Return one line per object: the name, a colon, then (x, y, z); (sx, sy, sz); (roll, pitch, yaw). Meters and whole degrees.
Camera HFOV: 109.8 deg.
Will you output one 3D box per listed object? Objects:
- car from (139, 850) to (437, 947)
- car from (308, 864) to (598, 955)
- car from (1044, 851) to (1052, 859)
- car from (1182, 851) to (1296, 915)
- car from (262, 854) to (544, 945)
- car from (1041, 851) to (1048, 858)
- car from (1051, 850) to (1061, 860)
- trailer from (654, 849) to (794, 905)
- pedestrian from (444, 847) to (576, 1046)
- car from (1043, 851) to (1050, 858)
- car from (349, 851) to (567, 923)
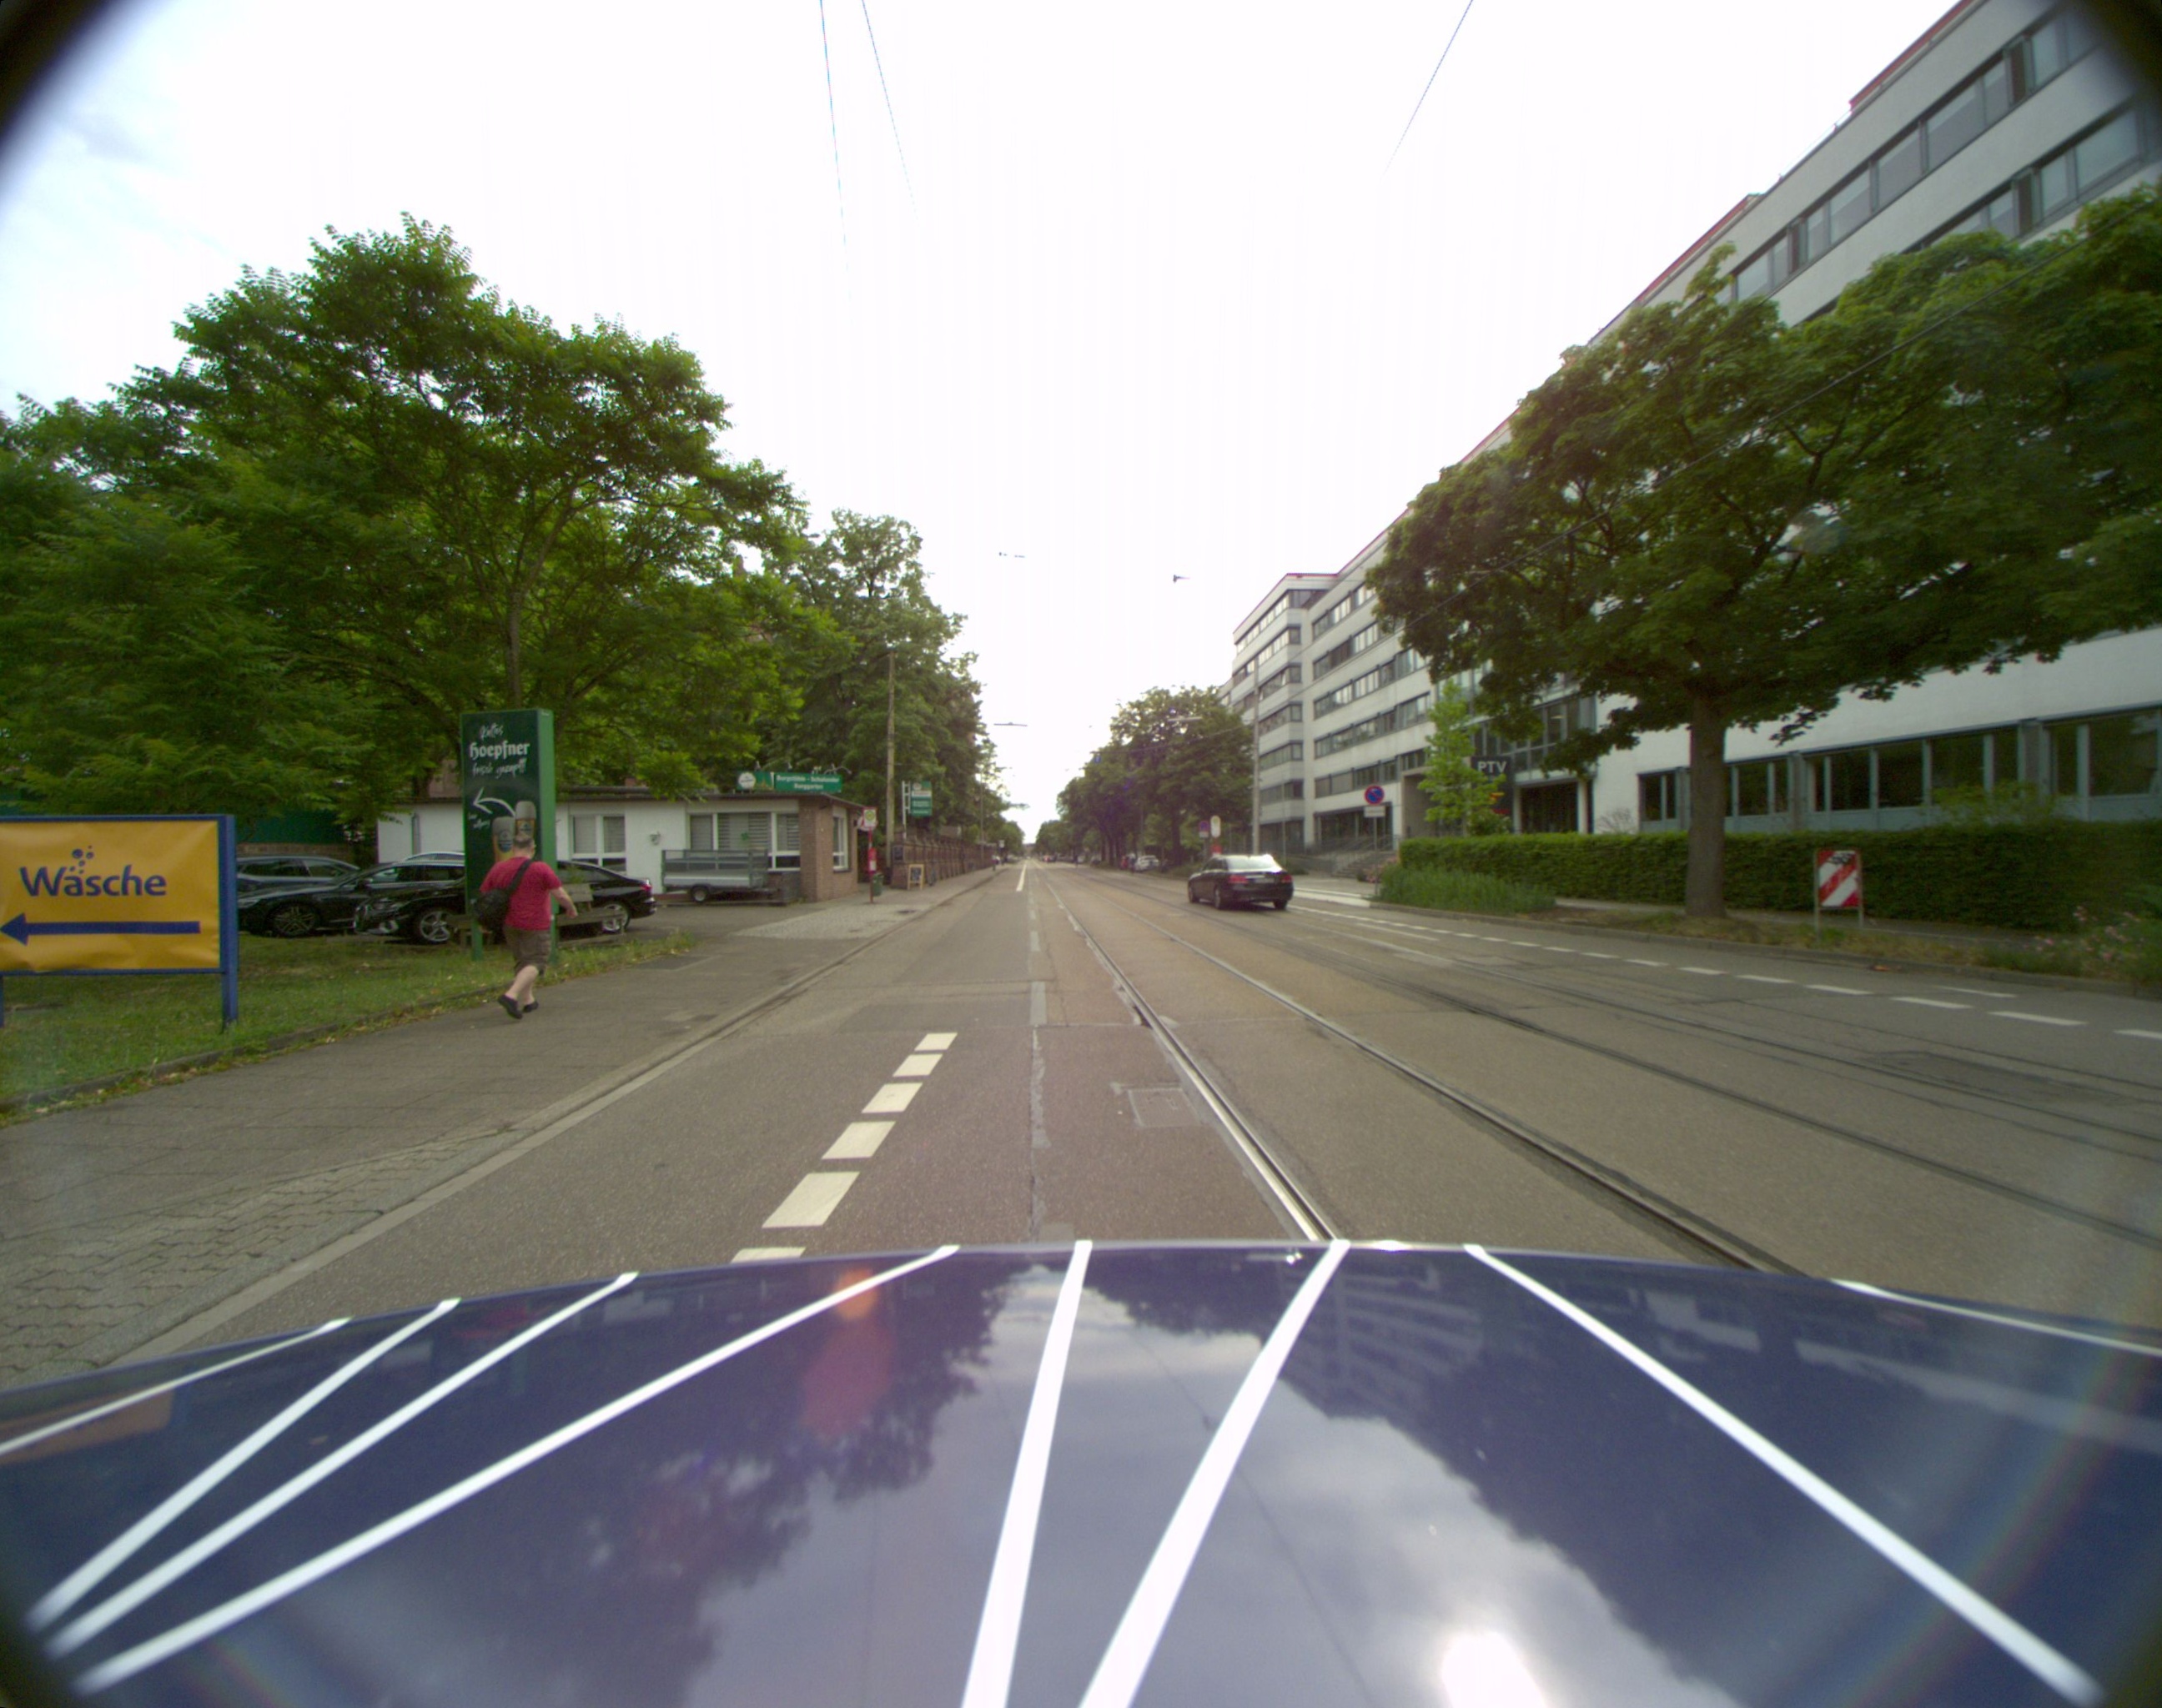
car: (-16.551, 0.824, 16.085); (1.807, 1.686, 4.033); (-1, 1, 33)
car: (-11.325, 0.918, 14.161); (1.998, 1.281, 4.000); (-2, 1, 1)
car: (-9.067, 0.261, 210.298); (1.999, 2.002, 3.999); (-2, 1, -2)
car: (4.267, 0.709, 21.257); (1.802, 1.537, 4.477); (-2, 1, -6)
car: (-13.822, 0.838, 15.705); (1.822, 1.509, 4.008); (-1, 1, 37)
car: (-12.548, 0.190, 259.285); (1.998, 2.002, 3.999); (-2, 1, 0)
car: (-5.804, 0.202, 175.386); (1.998, 2.002, 4.000); (-2, 1, 1)
trailer: (-10.504, 0.648, 22.559); (3.291, 1.523, 1.773); (0, 3, -3)
pedestrian: (-5.385, 0.817, 7.235); (0.871, 1.738, 0.849); (1, 1, -29)
car: (-10.173, 0.156, 224.487); (1.999, 2.002, 3.999); (-2, 1, -2)
car: (-16.374, 0.832, 20.173); (3.998, 1.657, 1.999); (-2, 1, -3)
